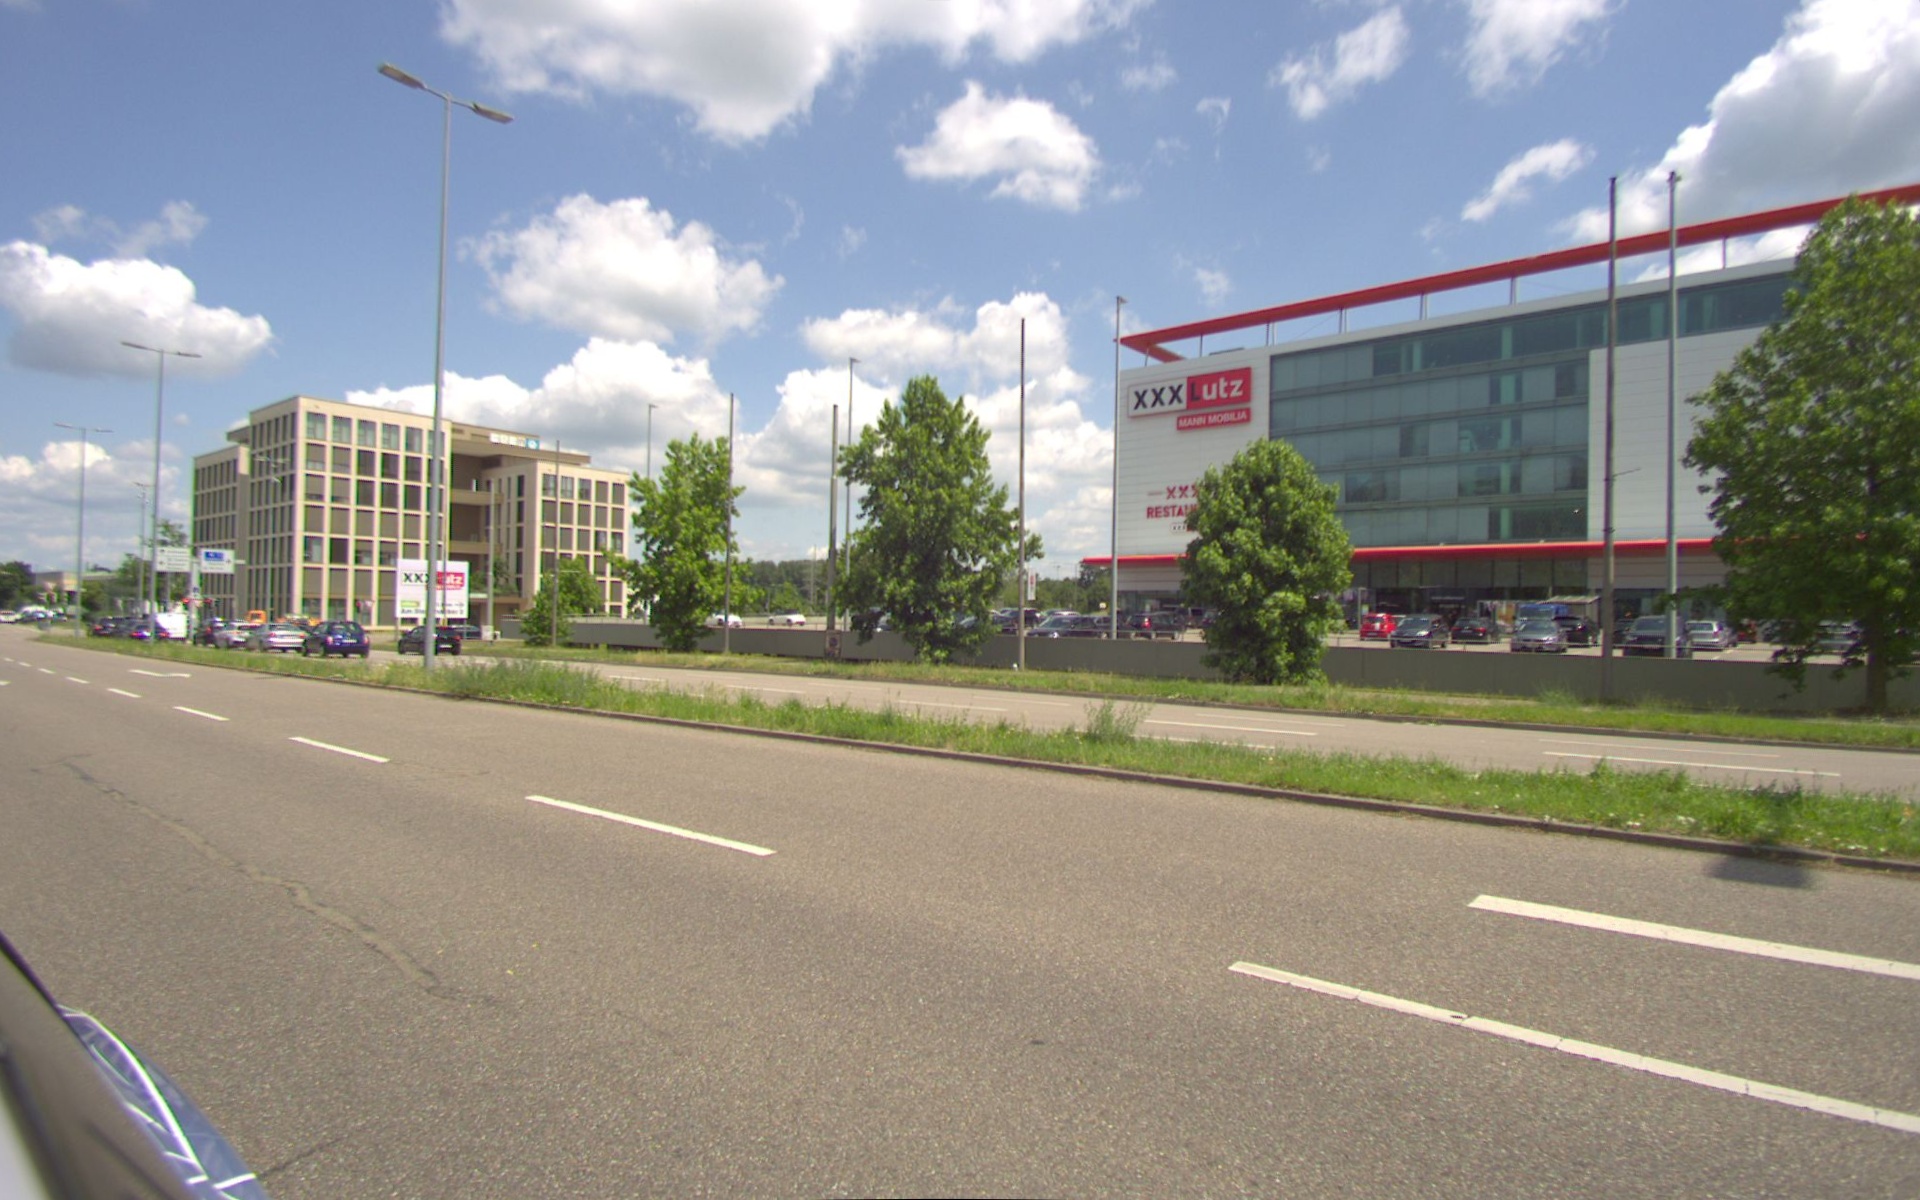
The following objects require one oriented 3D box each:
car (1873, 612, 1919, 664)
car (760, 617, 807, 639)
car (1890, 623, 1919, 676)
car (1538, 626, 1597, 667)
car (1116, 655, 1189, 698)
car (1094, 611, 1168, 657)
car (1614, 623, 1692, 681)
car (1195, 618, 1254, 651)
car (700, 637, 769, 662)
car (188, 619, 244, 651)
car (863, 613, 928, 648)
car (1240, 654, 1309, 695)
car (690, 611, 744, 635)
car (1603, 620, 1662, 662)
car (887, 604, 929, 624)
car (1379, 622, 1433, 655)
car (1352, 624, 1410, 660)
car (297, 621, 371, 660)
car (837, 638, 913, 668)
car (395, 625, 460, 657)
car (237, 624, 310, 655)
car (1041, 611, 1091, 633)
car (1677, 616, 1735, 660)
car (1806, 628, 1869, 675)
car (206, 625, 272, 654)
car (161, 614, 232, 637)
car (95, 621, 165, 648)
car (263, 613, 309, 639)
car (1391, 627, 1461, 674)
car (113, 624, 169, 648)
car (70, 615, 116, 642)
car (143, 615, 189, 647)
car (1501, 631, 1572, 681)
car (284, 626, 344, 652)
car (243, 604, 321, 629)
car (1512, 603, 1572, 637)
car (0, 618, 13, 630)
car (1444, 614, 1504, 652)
[{"bbox_3d":[44.398,1.778,47.619,1.868,2.324,4.510,-1,-2,40],"label":"car"},{"bbox_3d":[-15.203,2.460,87.148,3.828,1.847,1.832,-1,-3,38],"label":"car"},{"bbox_3d":[34.757,1.765,36.304,1.776,1.844,4.305,-1,-2,40],"label":"car"},{"bbox_3d":[31.029,2.336,51.641,1.998,2.004,4.305,-1,-2,40],"label":"car"},{"bbox_3d":[9.693,3.802,50.796,1.998,2.029,3.946,-1,-3,40],"label":"car"},{"bbox_3d":[9.063,1.804,53.500,1.998,2.347,4.305,-1,-2,40],"label":"car"},{"bbox_3d":[25.742,1.892,37.520,1.998,2.004,4.305,-1,-2,40],"label":"car"},{"bbox_3d":[16.803,2.209,64.119,1.998,2.004,4.305,-1,-2,40],"label":"car"},{"bbox_3d":[-14.643,3.209,65.789,1.919,1.608,3.943,-2,-3,43],"label":"car"},{"bbox_3d":[-42.307,2.016,57.534,4.226,1.714,1.772,-2,-4,43],"label":"car"},{"bbox_3d":[-4.432,2.093,69.810,2.000,2.347,4.301,-1,-3,43],"label":"car"},{"bbox_3d":[16.575,3.866,53.286,1.998,2.004,4.305,-1,-2,40],"label":"car"},{"bbox_3d":[-19.482,1.841,81.054,4.670,1.847,1.831,-2,-3,40],"label":"car"},{"bbox_3d":[33.295,2.022,50.069,1.998,2.004,4.305,-1,-2,40],"label":"car"},{"bbox_3d":[-5.009,1.359,97.925,3.830,1.847,1.831,-1,-3,40],"label":"car"},{"bbox_3d":[27.752,2.402,62.929,1.998,2.004,4.305,-2,-3,40],"label":"car"},{"bbox_3d":[24.590,2.451,59.025,1.998,2.004,4.305,-1,-2,40],"label":"car"},{"bbox_3d":[-25.708,1.629,41.521,3.677,1.486,1.719,0,-2,44],"label":"car"},{"bbox_3d":[-4.649,2.899,55.869,1.850,1.608,3.943,-2,-3,43],"label":"car"},{"bbox_3d":[-25.761,1.974,48.869,1.600,1.481,4.118,3,-3,-45],"label":"car"},{"bbox_3d":[-32.670,1.865,48.109,4.673,1.429,1.772,-2,-3,42],"label":"car"},{"bbox_3d":[7.631,1.609,72.898,1.680,1.481,3.779,-2,-3,42],"label":"car"},{"bbox_3d":[35.655,1.796,48.312,1.998,2.004,4.305,-1,-2,40],"label":"car"},{"bbox_3d":[39.267,2.276,45.302,1.999,2.004,4.303,-2,-3,41],"label":"car"},{"bbox_3d":[-37.596,2.083,52.702,4.844,1.413,1.772,-2,-5,43],"label":"car"},{"bbox_3d":[-60.000,2.012,79.566,1.861,1.741,4.137,2,0,39],"label":"car"},{"bbox_3d":[-50.426,2.112,61.502,3.746,1.572,1.783,-1,-3,24],"label":"car"},{"bbox_3d":[-46.106,1.809,69.200,3.870,1.714,1.772,-2,-4,43],"label":"car"},{"bbox_3d":[21.980,2.345,47.635,1.990,2.058,4.243,-1,-2,40],"label":"car"},{"bbox_3d":[-45.686,2.010,56.434,4.306,1.260,1.772,-2,-4,43],"label":"car"},{"bbox_3d":[-55.011,1.832,64.180,4.171,1.657,1.771,-2,-4,44],"label":"car"},{"bbox_3d":[-52.457,2.092,66.858,3.577,2.059,1.836,-2,-4,44],"label":"car"},{"bbox_3d":[25.140,2.407,44.081,1.998,2.065,4.305,-1,-2,40],"label":"car"},{"bbox_3d":[-37.548,2.269,58.798,4.353,1.484,1.603,-2,-3,39],"label":"car"},{"bbox_3d":[-70.502,1.724,105.335,6.433,2.347,2.857,2,-5,-41],"label":"car"},{"bbox_3d":[33.255,1.167,57.794,2.196,1.792,5.066,-1,-3,39],"label":"car"},{"bbox_3d":[-139.765,3.524,147.526,4.484,1.731,2.259,0,-2,44],"label":"car"},{"bbox_3d":[27.900,1.793,54.842,1.998,2.004,4.305,-1,-2,40],"label":"car"}]
